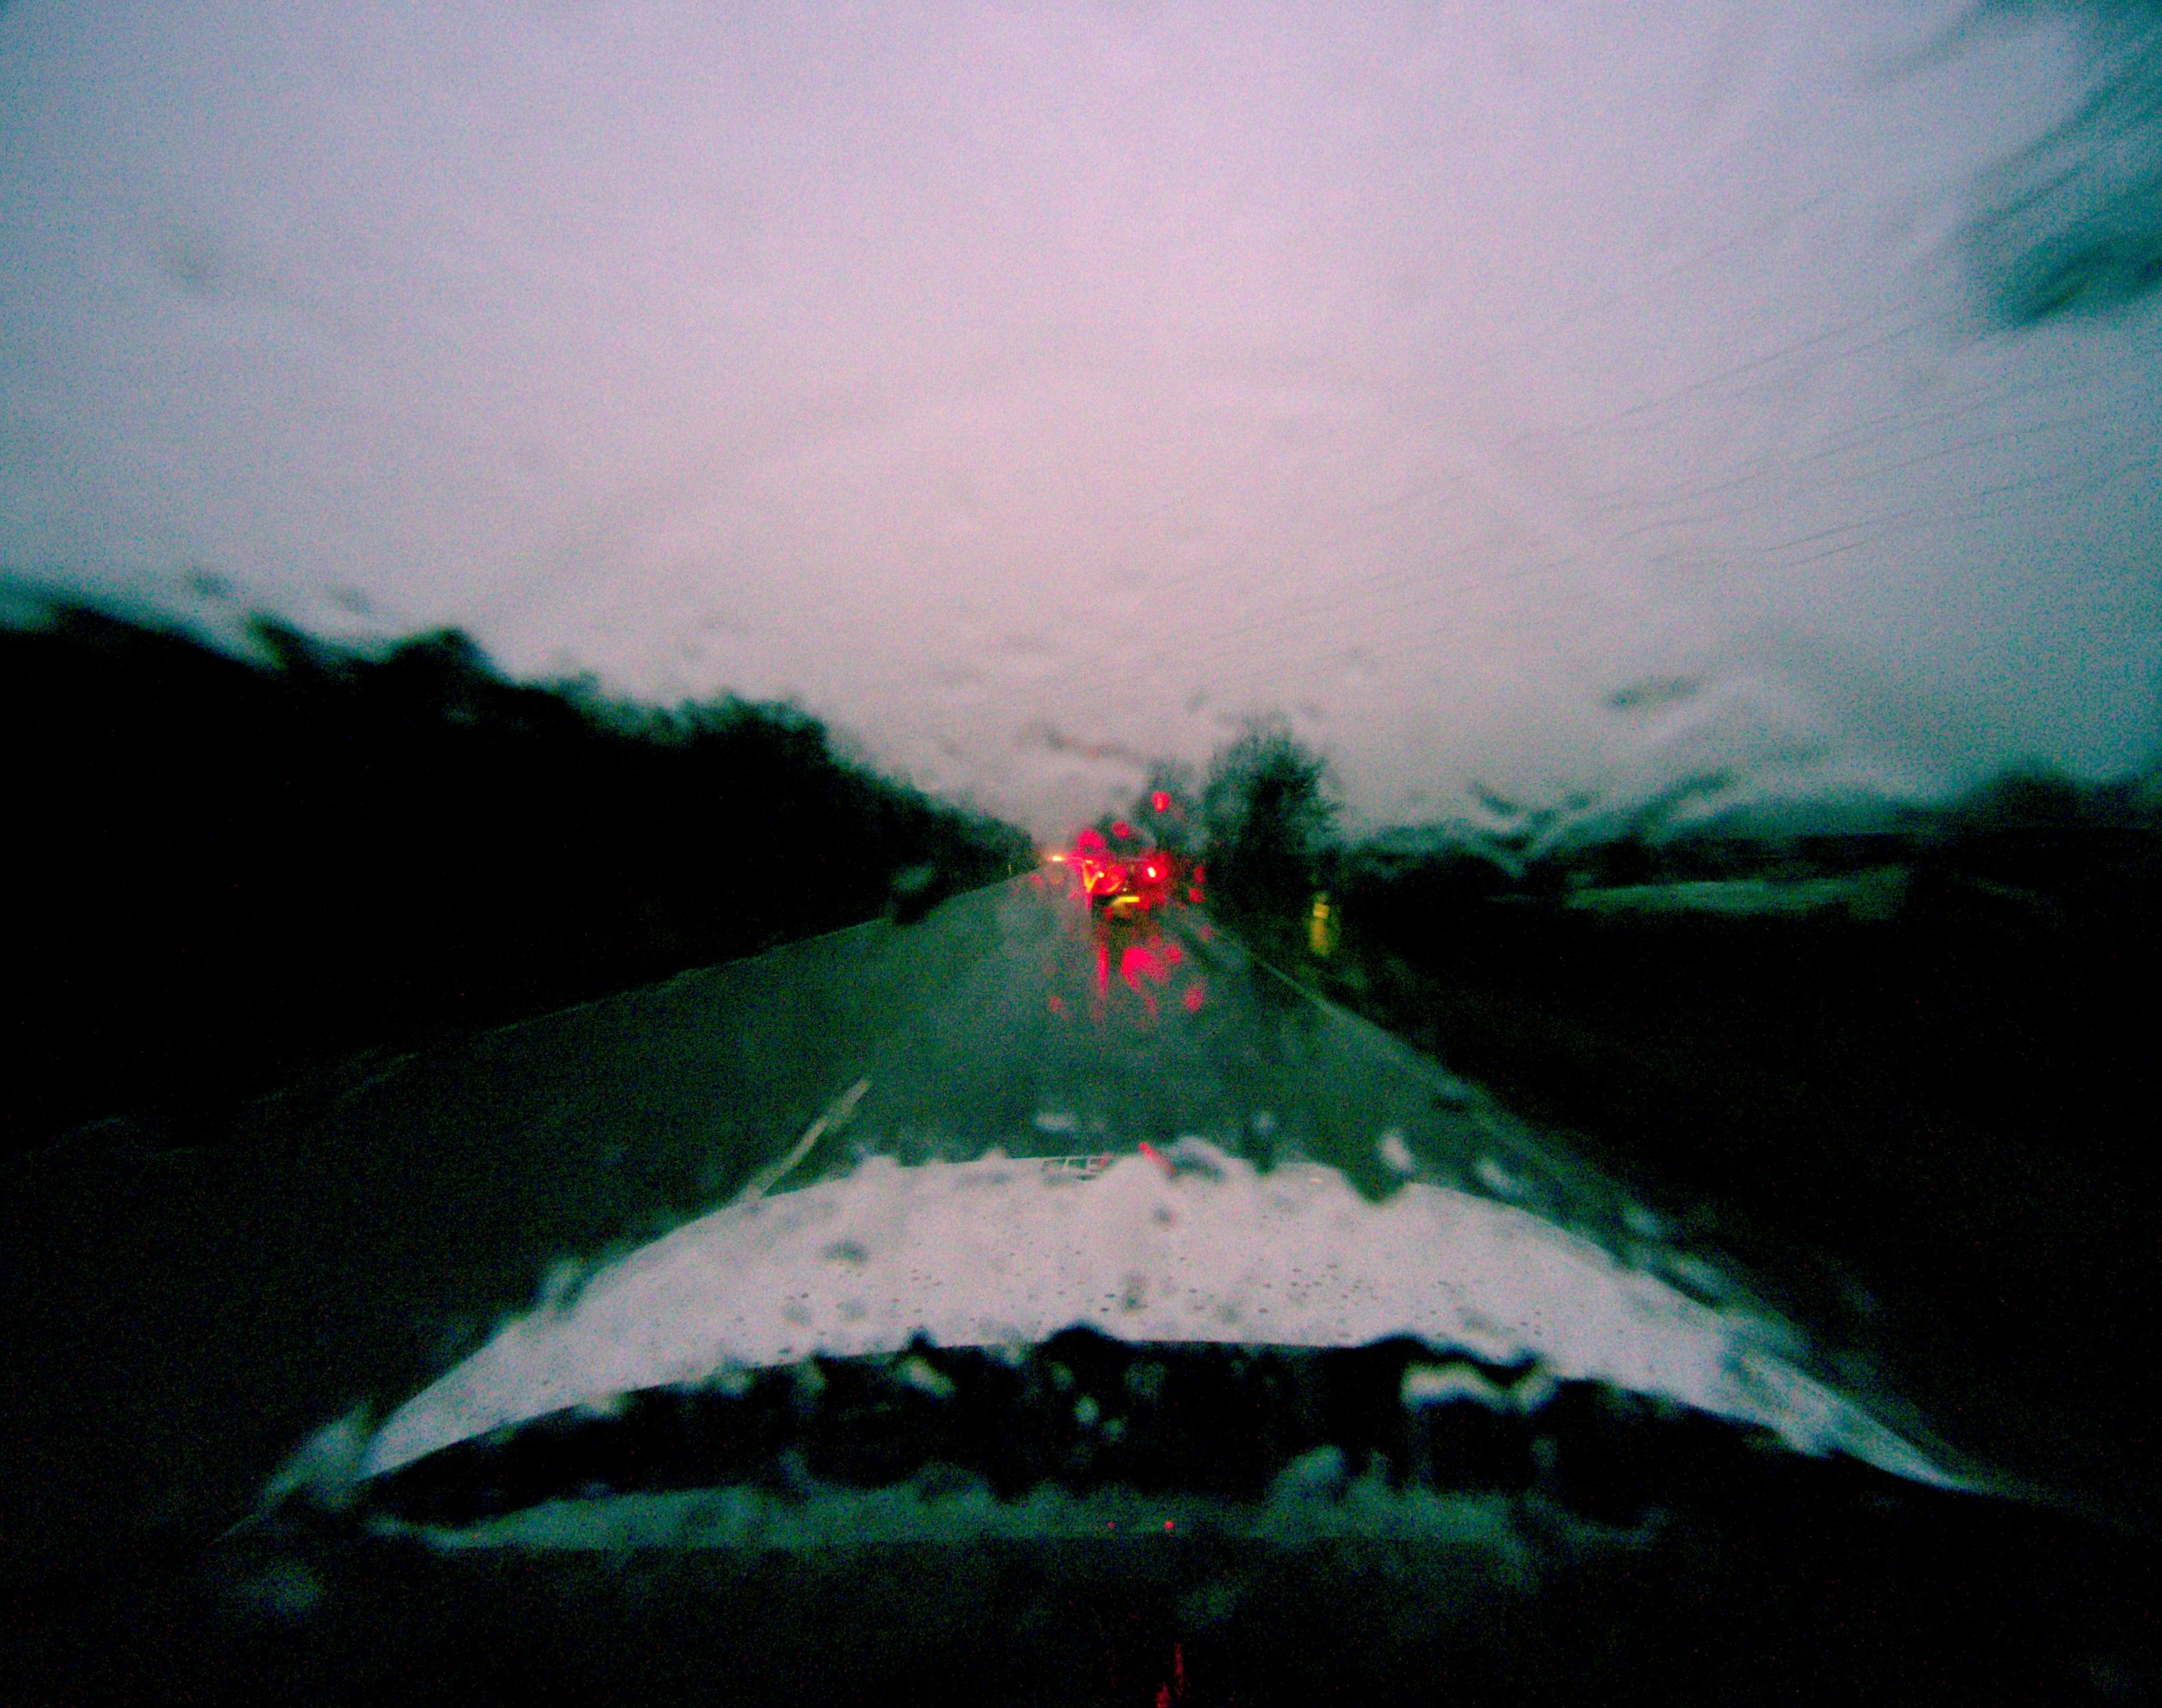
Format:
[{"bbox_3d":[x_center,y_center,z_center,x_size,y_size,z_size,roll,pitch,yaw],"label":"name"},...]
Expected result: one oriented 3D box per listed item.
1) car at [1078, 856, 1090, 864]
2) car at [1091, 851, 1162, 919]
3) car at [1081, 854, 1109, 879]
[{"bbox_3d":[0.568,1.077,144.271,1.538,1.396,3.878,-1,0,8],"label":"car"},{"bbox_3d":[1.133,0.707,20.440,1.596,1.522,3.872,-1,0,3],"label":"car"},{"bbox_3d":[0.864,0.729,48.727,1.541,1.396,3.871,-1,0,2],"label":"car"}]
